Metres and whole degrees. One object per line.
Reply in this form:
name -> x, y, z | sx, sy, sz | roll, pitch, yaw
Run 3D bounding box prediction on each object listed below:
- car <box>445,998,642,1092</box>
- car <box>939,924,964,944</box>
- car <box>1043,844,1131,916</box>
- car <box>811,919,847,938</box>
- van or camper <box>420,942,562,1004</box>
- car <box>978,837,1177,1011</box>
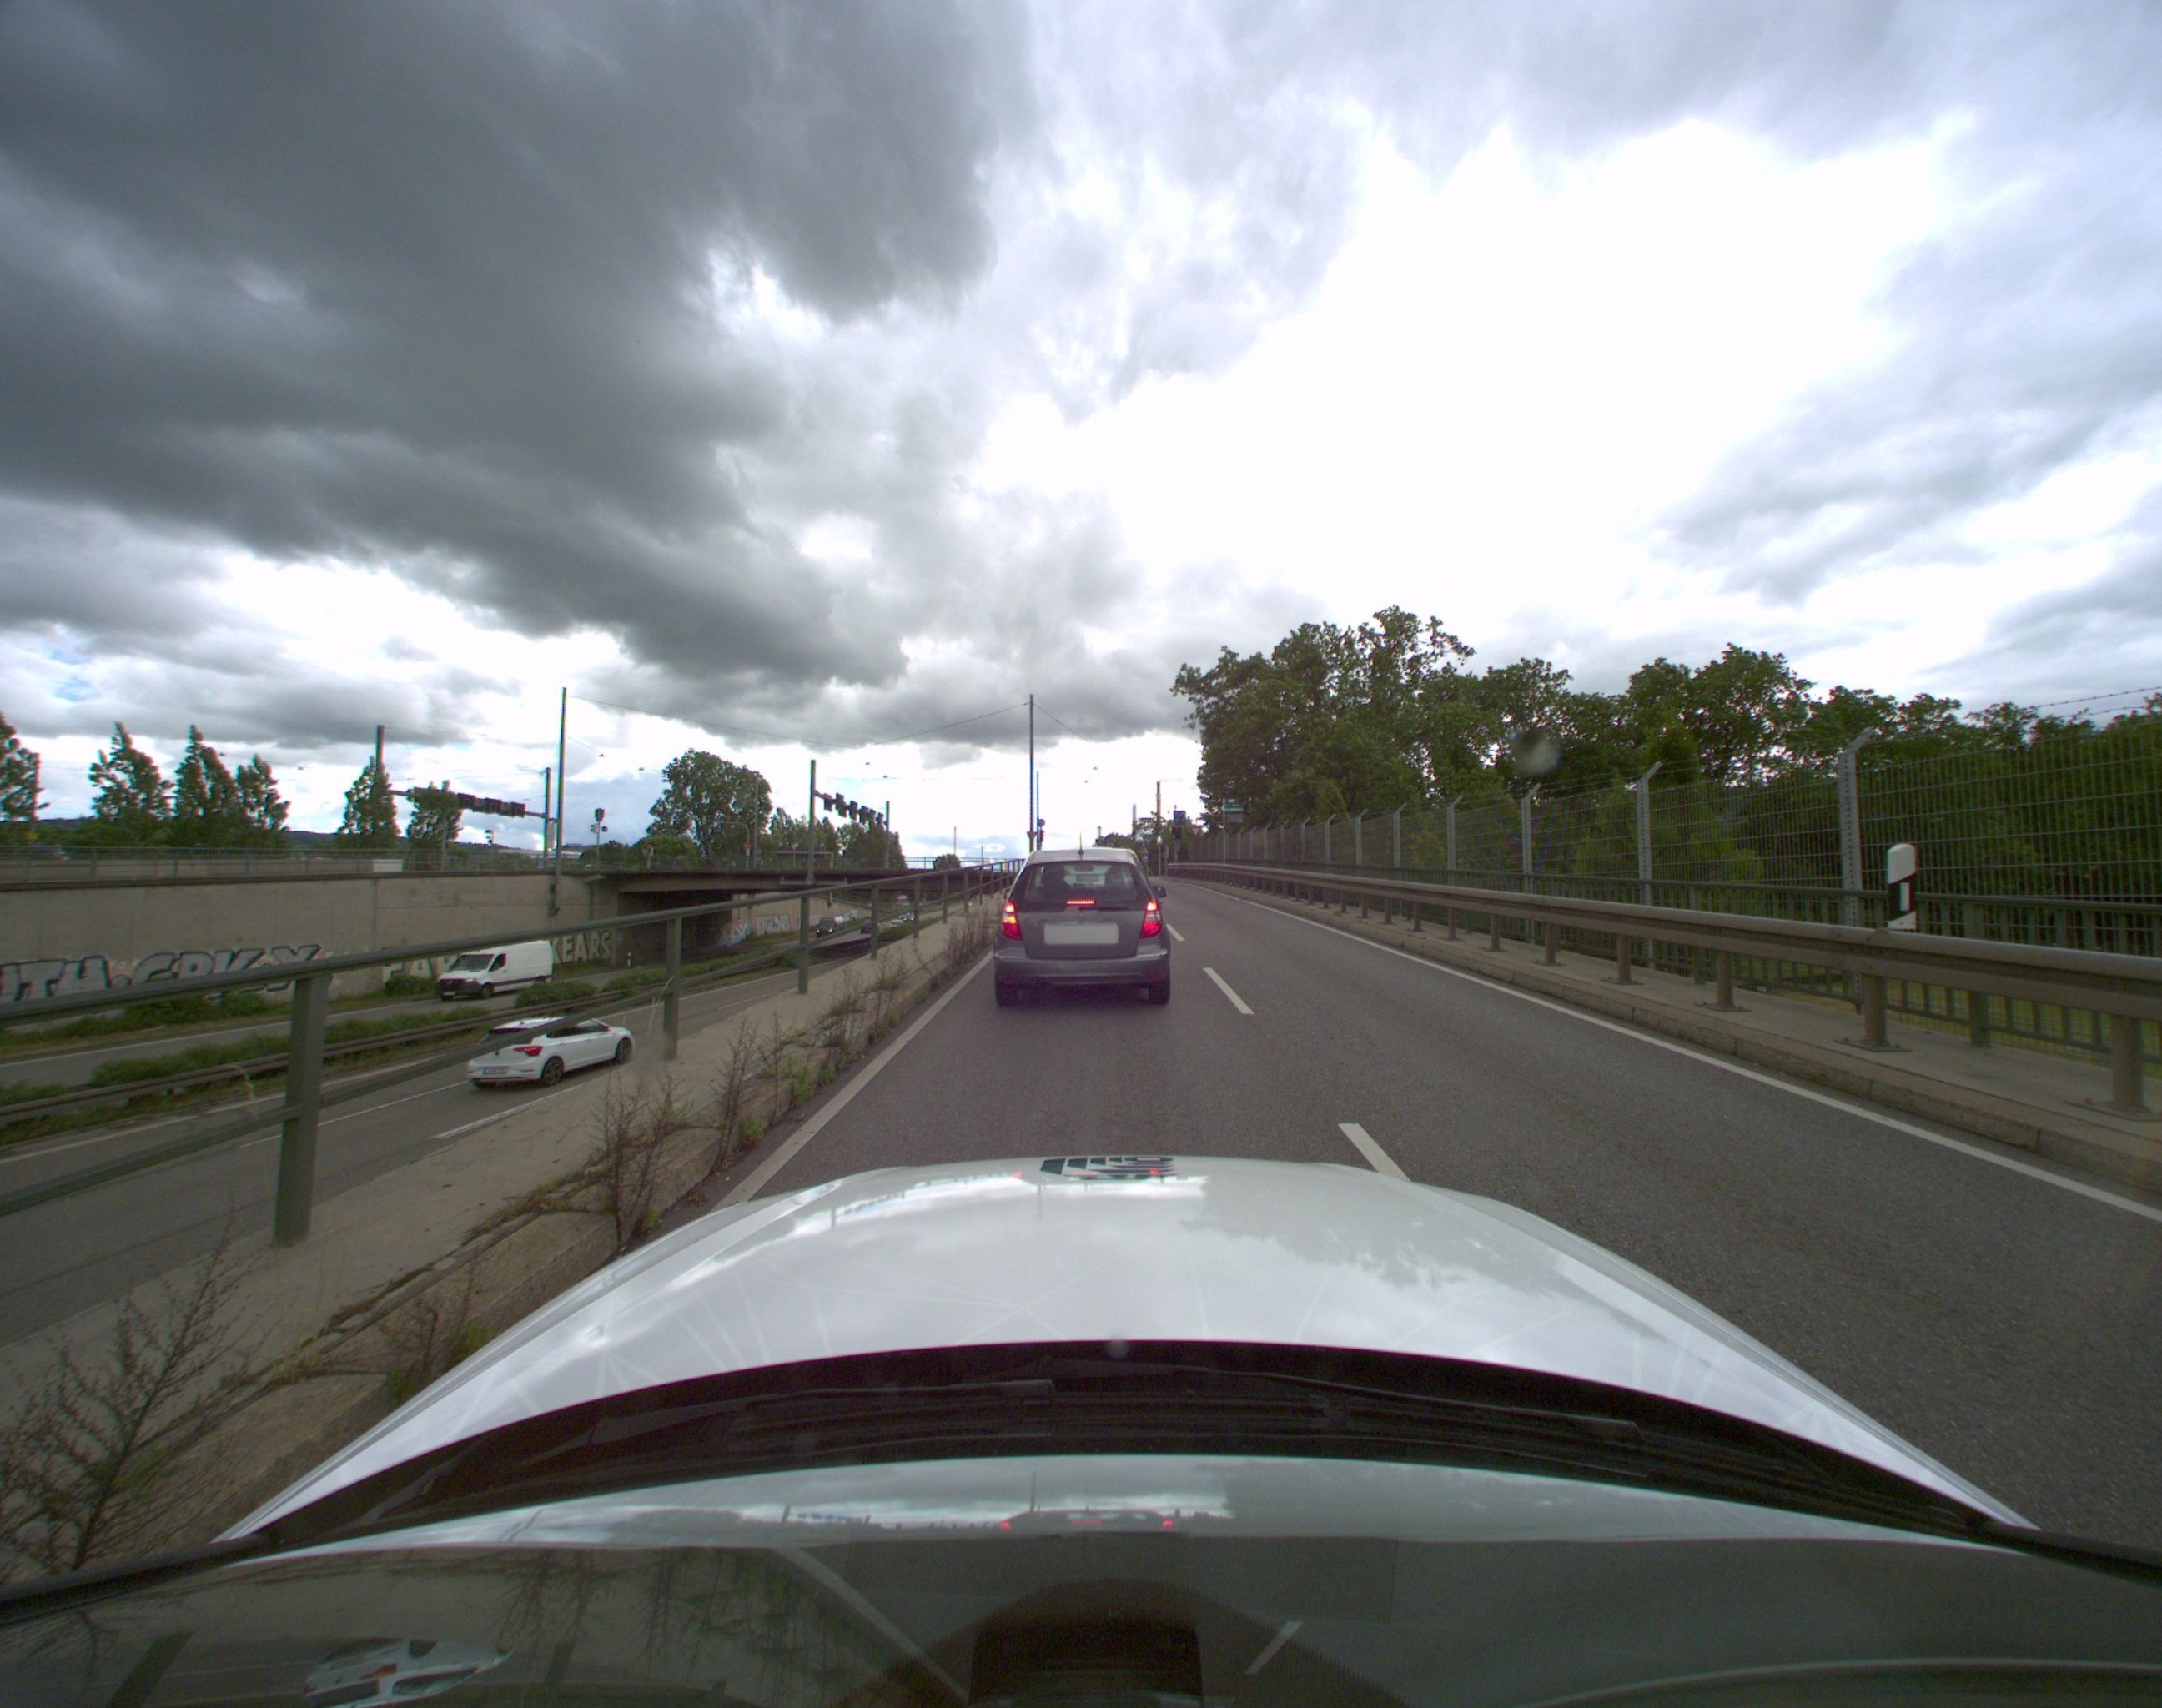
car -> -12.720, 4.487, 19.627 | 1.846, 1.500, 4.004 | -1, -3, 4
car -> -12.754, 7.834, 80.367 | 1.674, 1.736, 3.999 | -2, -3, 2
car -> 0.193, 0.570, 20.794 | 1.986, 1.603, 4.002 | -1, 1, 1
car -> -30.305, 8.938, 98.177 | 2.282, 2.156, 6.183 | -1, -4, 1
van or camper -> -28.668, 5.711, 39.957 | 2.175, 2.457, 6.345 | 0, -4, 0
car -> 0.188, 0.674, 9.565 | 1.740, 1.581, 4.094 | -1, -1, 8
